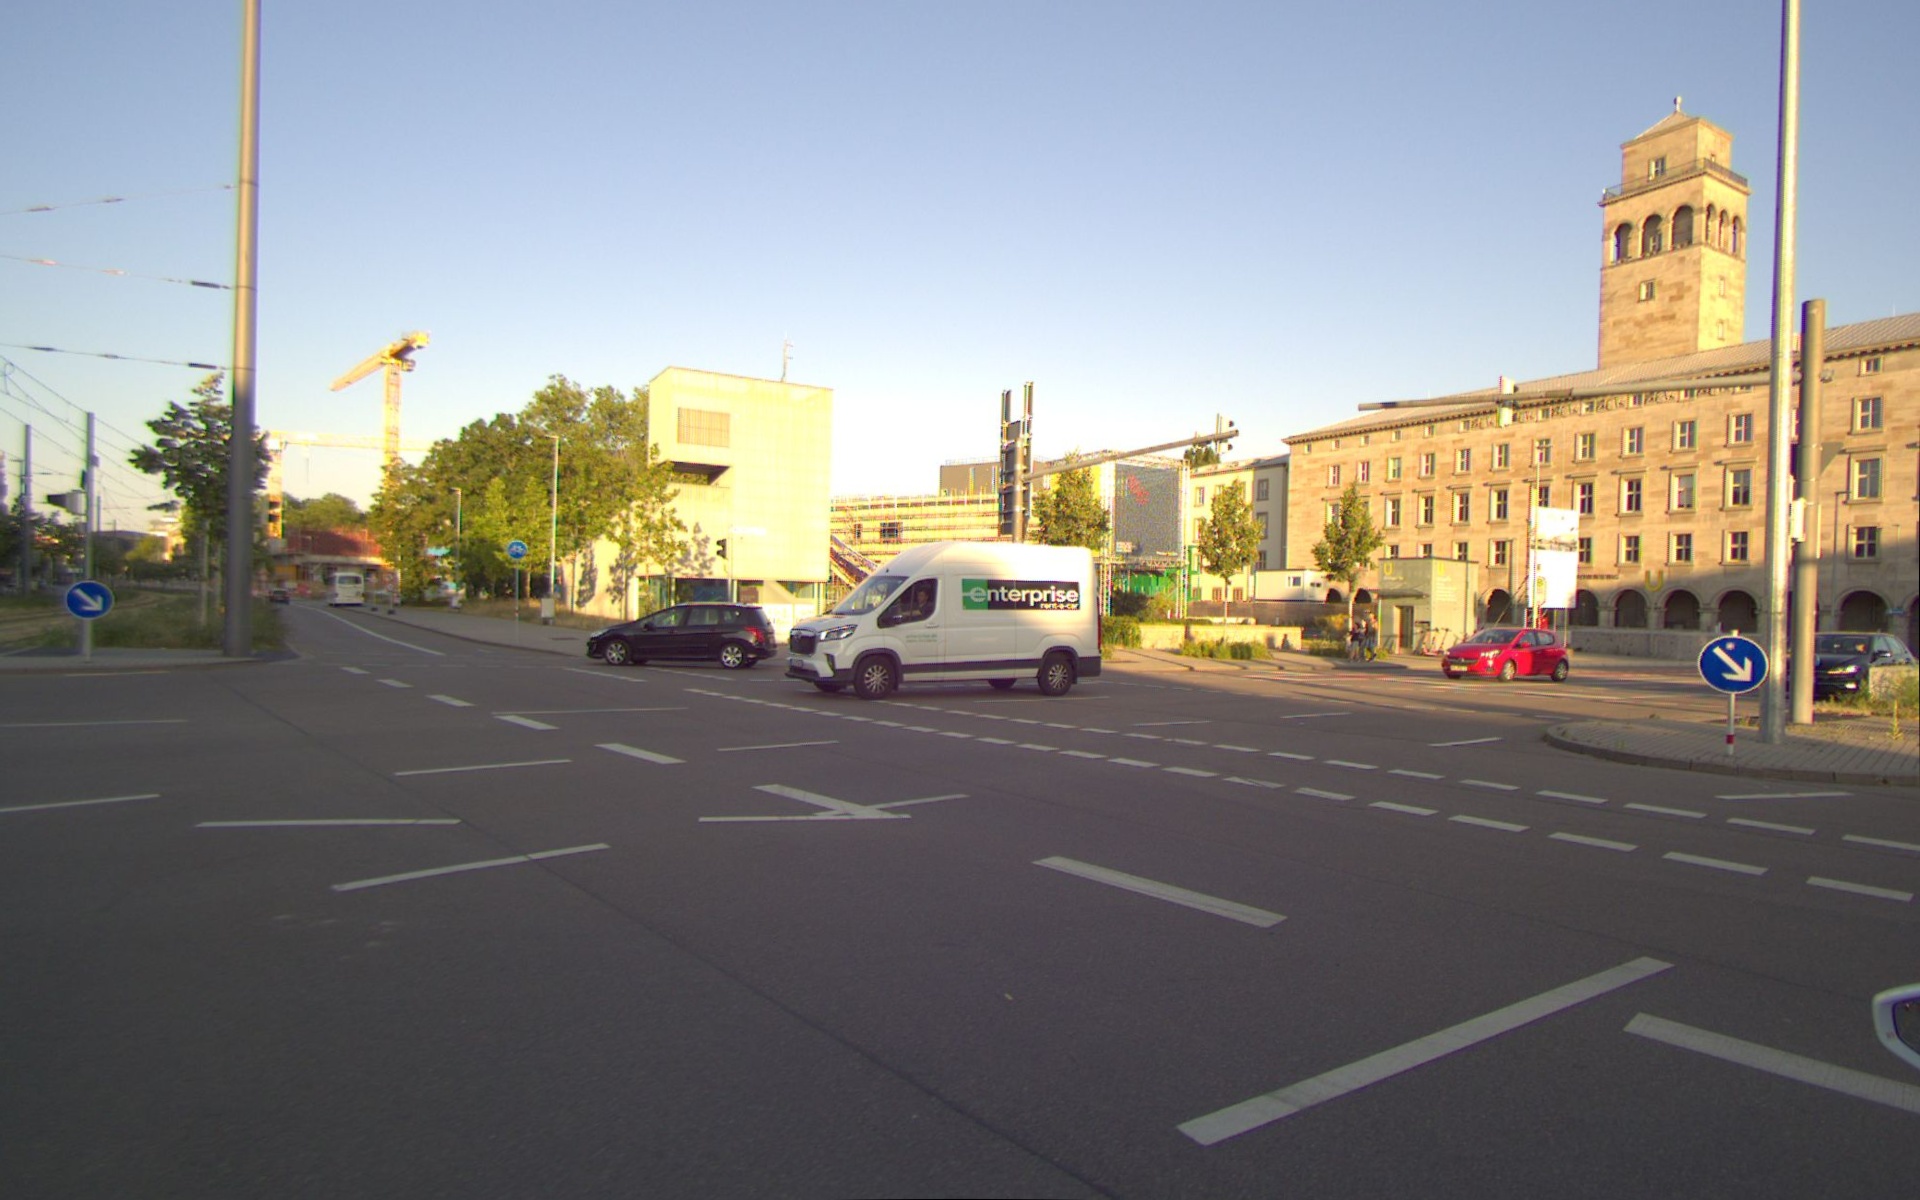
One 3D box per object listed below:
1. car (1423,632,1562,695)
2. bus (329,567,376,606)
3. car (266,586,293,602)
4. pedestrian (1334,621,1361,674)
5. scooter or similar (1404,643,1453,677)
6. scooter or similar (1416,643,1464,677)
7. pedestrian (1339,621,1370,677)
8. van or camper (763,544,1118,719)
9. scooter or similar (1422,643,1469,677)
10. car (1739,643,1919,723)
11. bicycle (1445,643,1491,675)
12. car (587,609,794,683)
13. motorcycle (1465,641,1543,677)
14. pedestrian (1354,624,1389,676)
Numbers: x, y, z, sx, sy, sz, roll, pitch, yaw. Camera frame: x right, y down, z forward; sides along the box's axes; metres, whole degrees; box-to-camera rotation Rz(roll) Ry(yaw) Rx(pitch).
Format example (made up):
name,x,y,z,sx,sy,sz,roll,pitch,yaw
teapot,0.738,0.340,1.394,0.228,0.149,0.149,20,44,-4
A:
name,x,y,z,sx,sy,sz,roll,pitch,yaw
car,14.627,1.706,27.545,3.957,1.547,1.626,2,0,-33
bus,-64.021,-1.418,105.740,3.523,3.764,8.834,2,0,-35
car,-73.052,-0.668,107.866,2.049,1.673,3.967,2,0,-30
pedestrian,14.465,1.765,37.510,0.640,1.959,0.656,1,0,-29
scooter or similar,19.816,2.529,42.546,0.496,1.322,1.845,3,-1,-36
scooter or similar,20.599,2.571,43.143,0.419,1.322,1.817,3,-1,-36
pedestrian,14.267,1.777,36.347,0.766,1.959,0.628,1,1,-29
van or camper,-0.237,0.556,18.062,6.093,2.702,2.215,2,0,-32
scooter or similar,20.952,2.584,43.402,0.419,1.322,1.822,3,-1,-36
car,19.089,1.769,21.899,4.488,1.485,1.876,3,-1,-32
bicycle,22.557,2.633,44.579,2.482,1.341,0.613,3,-1,-33
car,-6.355,1.117,24.163,4.391,1.572,2.073,2,-3,-2
motorcycle,25.595,2.759,47.359,0.831,1.401,3.215,3,1,-32
pedestrian,15.105,1.831,36.862,0.766,1.861,0.868,2,0,-29
